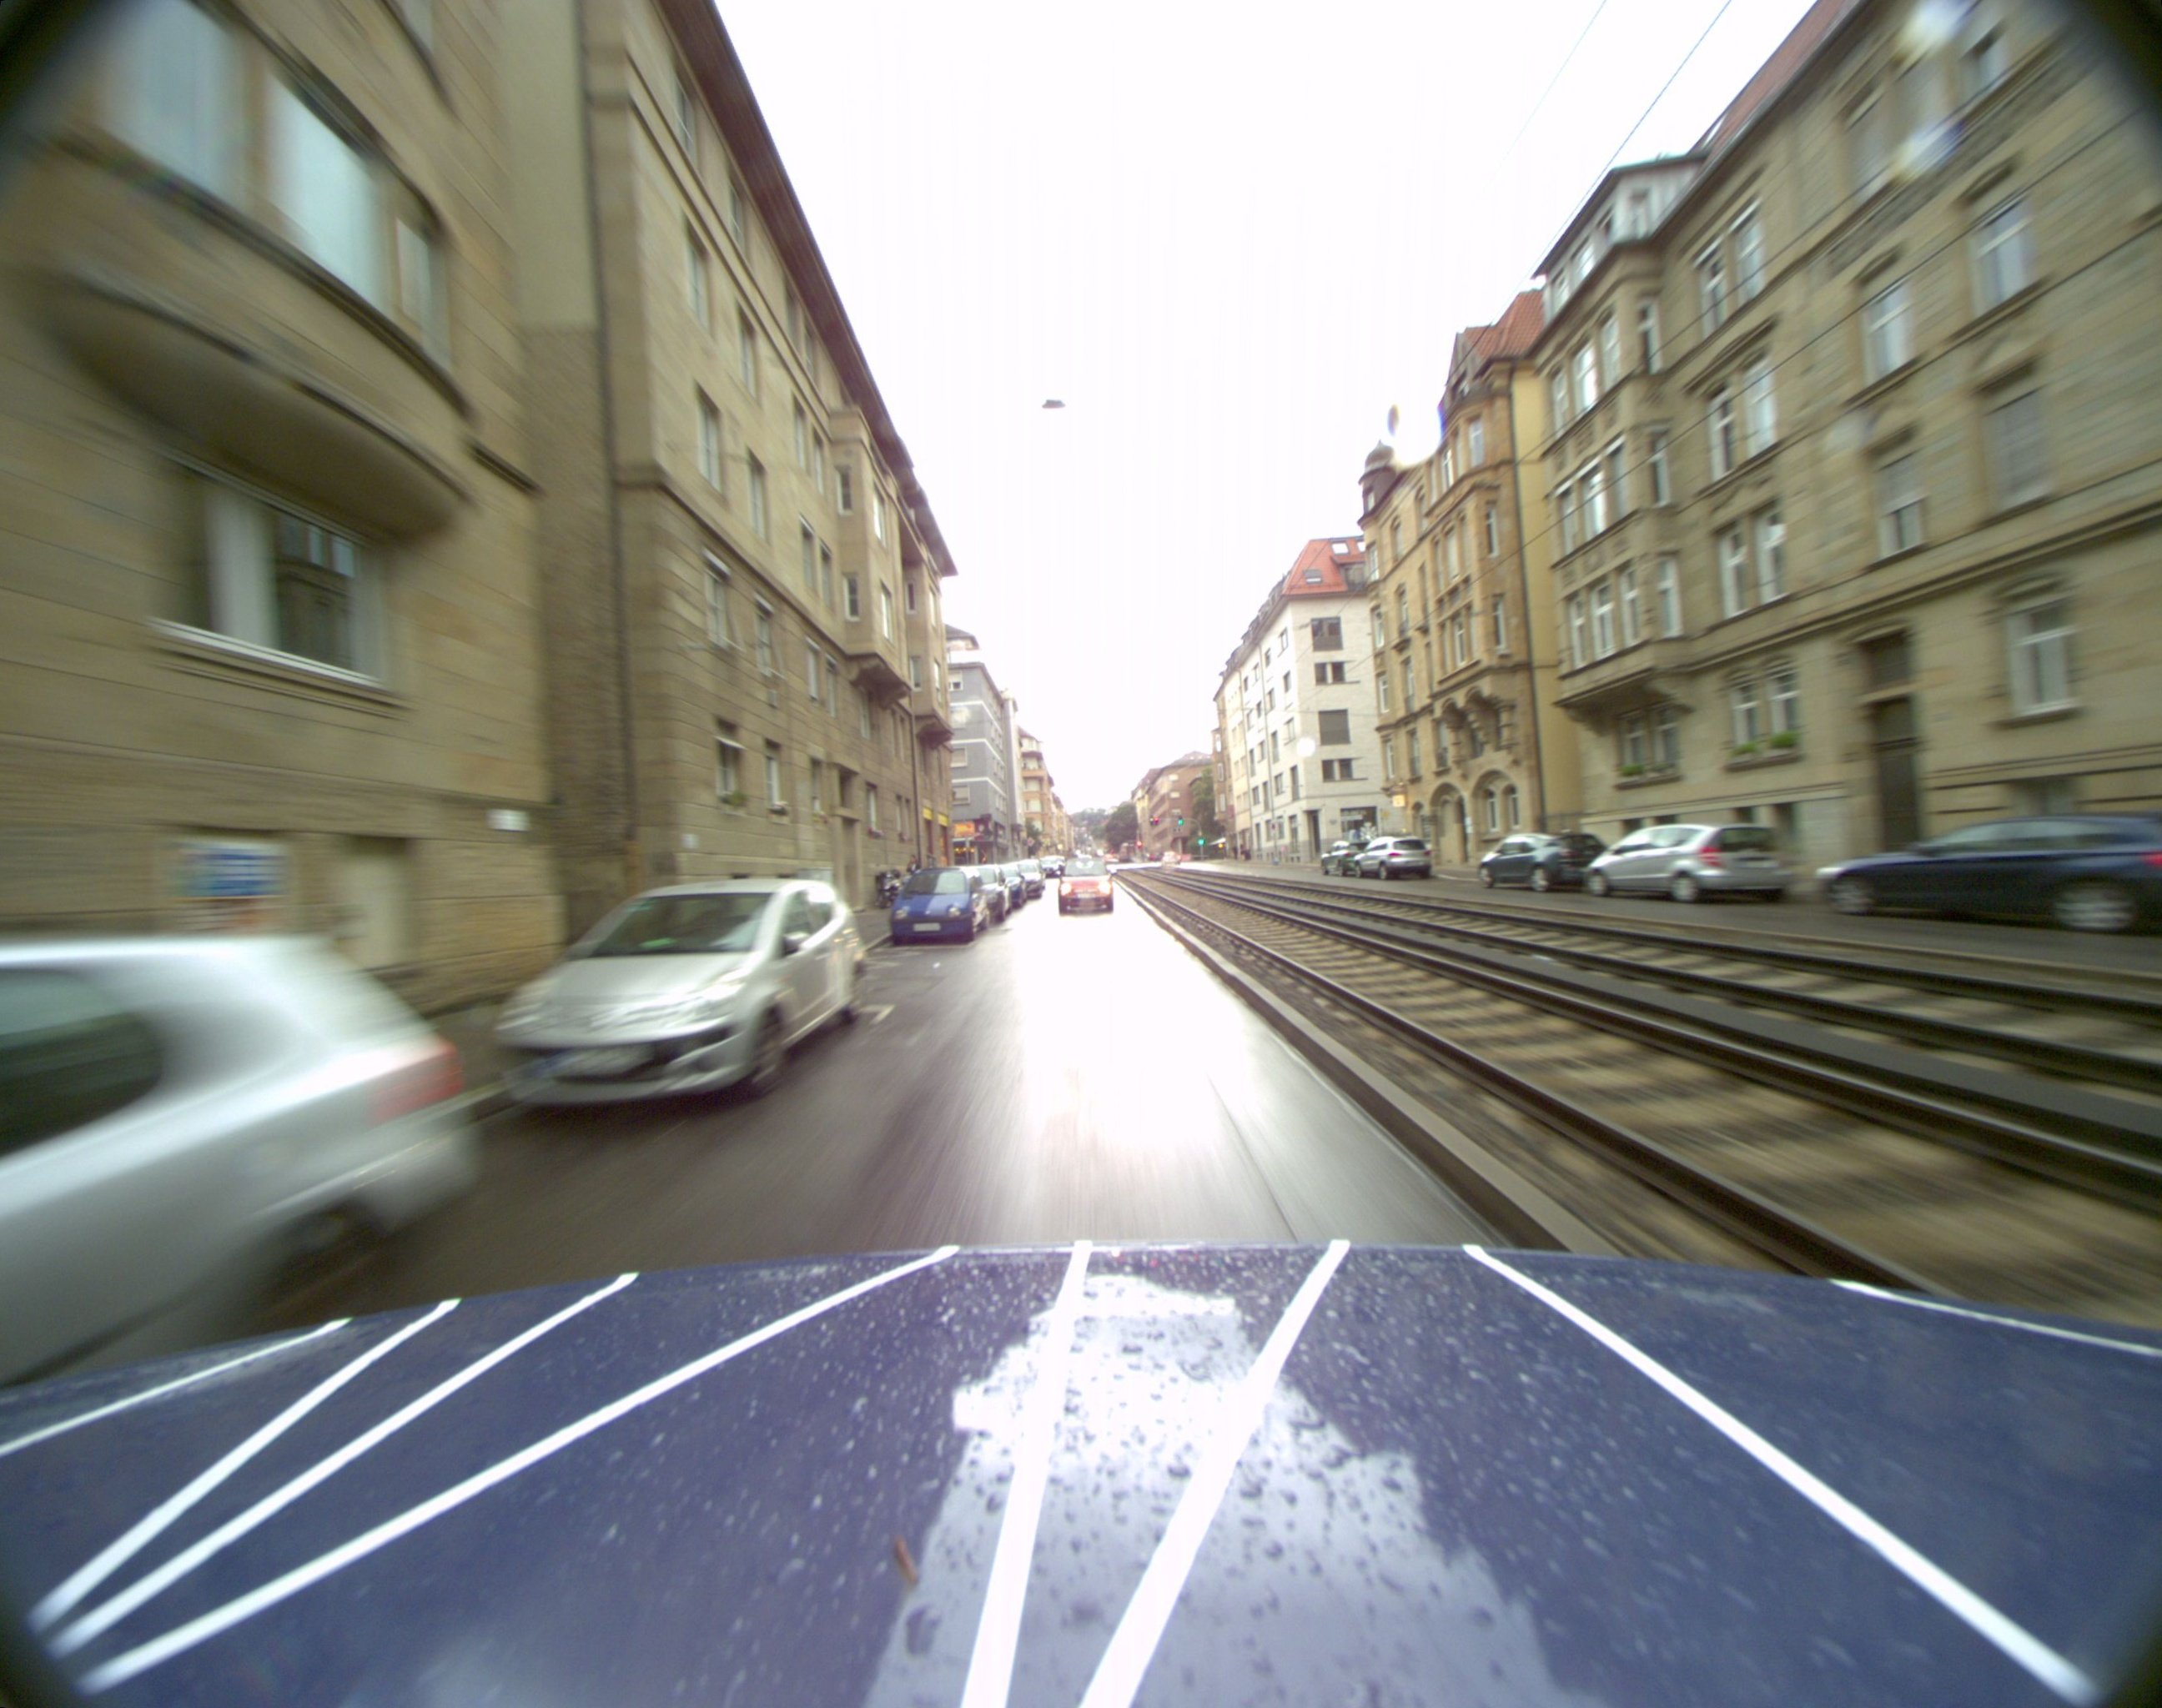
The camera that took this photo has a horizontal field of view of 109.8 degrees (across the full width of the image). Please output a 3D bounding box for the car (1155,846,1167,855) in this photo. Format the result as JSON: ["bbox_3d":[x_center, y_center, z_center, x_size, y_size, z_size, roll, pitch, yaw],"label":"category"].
[{"bbox_3d":[13.100,-0.547,125.130,1.708,1.379,3.781,-2,0,2],"label":"car"}]

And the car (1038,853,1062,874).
[{"bbox_3d":[-2.369,0.720,57.546,1.696,1.474,3.928,-1,0,-4],"label":"car"}]

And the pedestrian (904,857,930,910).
[{"bbox_3d":[-4.902,0.873,22.755,0.562,1.526,0.710,-3,1,1],"label":"pedestrian"}]

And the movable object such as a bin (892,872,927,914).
[{"bbox_3d":[-4.907,1.109,21.813,0.667,1.097,1.124,-3,1,0],"label":"movable object such as a bin"}]

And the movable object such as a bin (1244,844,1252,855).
[{"bbox_3d":[16.496,-0.451,75.065,0.631,1.074,0.563,-7,1,0],"label":"movable object such as a bin"}]

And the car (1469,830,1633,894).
[{"bbox_3d":[12.549,0.185,20.642,1.875,1.499,4.169,-2,0,1],"label":"car"}]

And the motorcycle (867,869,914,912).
[{"bbox_3d":[-5.967,1.109,24.013,0.707,1.192,2.746,-3,0,1],"label":"motorcycle"}]

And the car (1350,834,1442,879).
[{"bbox_3d":[12.726,0.090,31.023,1.863,1.643,4.314,-2,0,-1],"label":"car"}]

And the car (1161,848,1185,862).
[{"bbox_3d":[10.043,0.084,83.311,1.986,1.448,4.294,-2,0,-1],"label":"car"}]

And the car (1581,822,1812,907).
[{"bbox_3d":[12.494,0.183,15.785,1.699,1.515,3.855,-2,0,1],"label":"car"}]

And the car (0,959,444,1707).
[{"bbox_3d":[-2.935,1.091,0.494,1.672,1.426,3.955,-2,0,0],"label":"car"}]

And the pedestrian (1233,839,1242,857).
[{"bbox_3d":[15.276,-0.586,74.213,0.603,1.708,0.746,-6,1,3],"label":"pedestrian"}]

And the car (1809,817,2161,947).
[{"bbox_3d":[12.461,0.273,9.928,1.767,1.390,4.269,-2,0,0],"label":"car"}]

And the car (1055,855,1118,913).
[{"bbox_3d":[0.175,0.835,23.062,1.683,1.531,4.018,-2,0,0],"label":"car"}]

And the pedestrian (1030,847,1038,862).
[{"bbox_3d":[-5.650,0.090,91.226,0.852,1.807,0.847,-1,1,1],"label":"pedestrian"}]

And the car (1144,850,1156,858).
[{"bbox_3d":[13.502,-0.081,148.296,2.093,1.449,4.860,-2,0,3],"label":"car"}]

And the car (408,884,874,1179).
[{"bbox_3d":[-2.943,1.058,6.076,1.594,1.426,3.683,-2,0,-1],"label":"car"}]

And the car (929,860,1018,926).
[{"bbox_3d":[-2.756,0.965,20.382,1.792,1.454,4.083,-3,0,-1],"label":"car"}]

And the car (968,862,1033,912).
[{"bbox_3d":[-2.609,1.041,25.335,1.711,1.390,4.018,-3,0,-1],"label":"car"}]

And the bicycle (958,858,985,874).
[{"bbox_3d":[-7.599,0.816,52.725,1.753,0.967,0.533,-3,1,2],"label":"bicycle"}]

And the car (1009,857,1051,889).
[{"bbox_3d":[-2.436,0.875,37.029,1.675,1.435,3.790,-1,0,1],"label":"car"}]

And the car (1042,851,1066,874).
[{"bbox_3d":[-2.194,0.702,62.919,1.797,1.750,4.565,-3,0,0],"label":"car"}]

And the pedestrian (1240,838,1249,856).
[{"bbox_3d":[15.914,-0.646,74.166,0.603,1.708,0.658,-6,1,3],"label":"pedestrian"}]

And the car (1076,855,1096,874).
[{"bbox_3d":[0.627,1.173,88.289,2.135,2.002,4.328,-3,0,1],"label":"car"}]

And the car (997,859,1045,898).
[{"bbox_3d":[-2.327,0.944,30.609,1.759,1.379,4.484,-1,0,-3],"label":"car"}]

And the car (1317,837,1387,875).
[{"bbox_3d":[12.743,0.078,35.996,1.863,1.592,4.430,-2,0,2],"label":"car"}]

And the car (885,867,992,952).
[{"bbox_3d":[-2.823,1.054,15.725,1.548,1.407,3.446,-3,0,-1],"label":"car"}]
